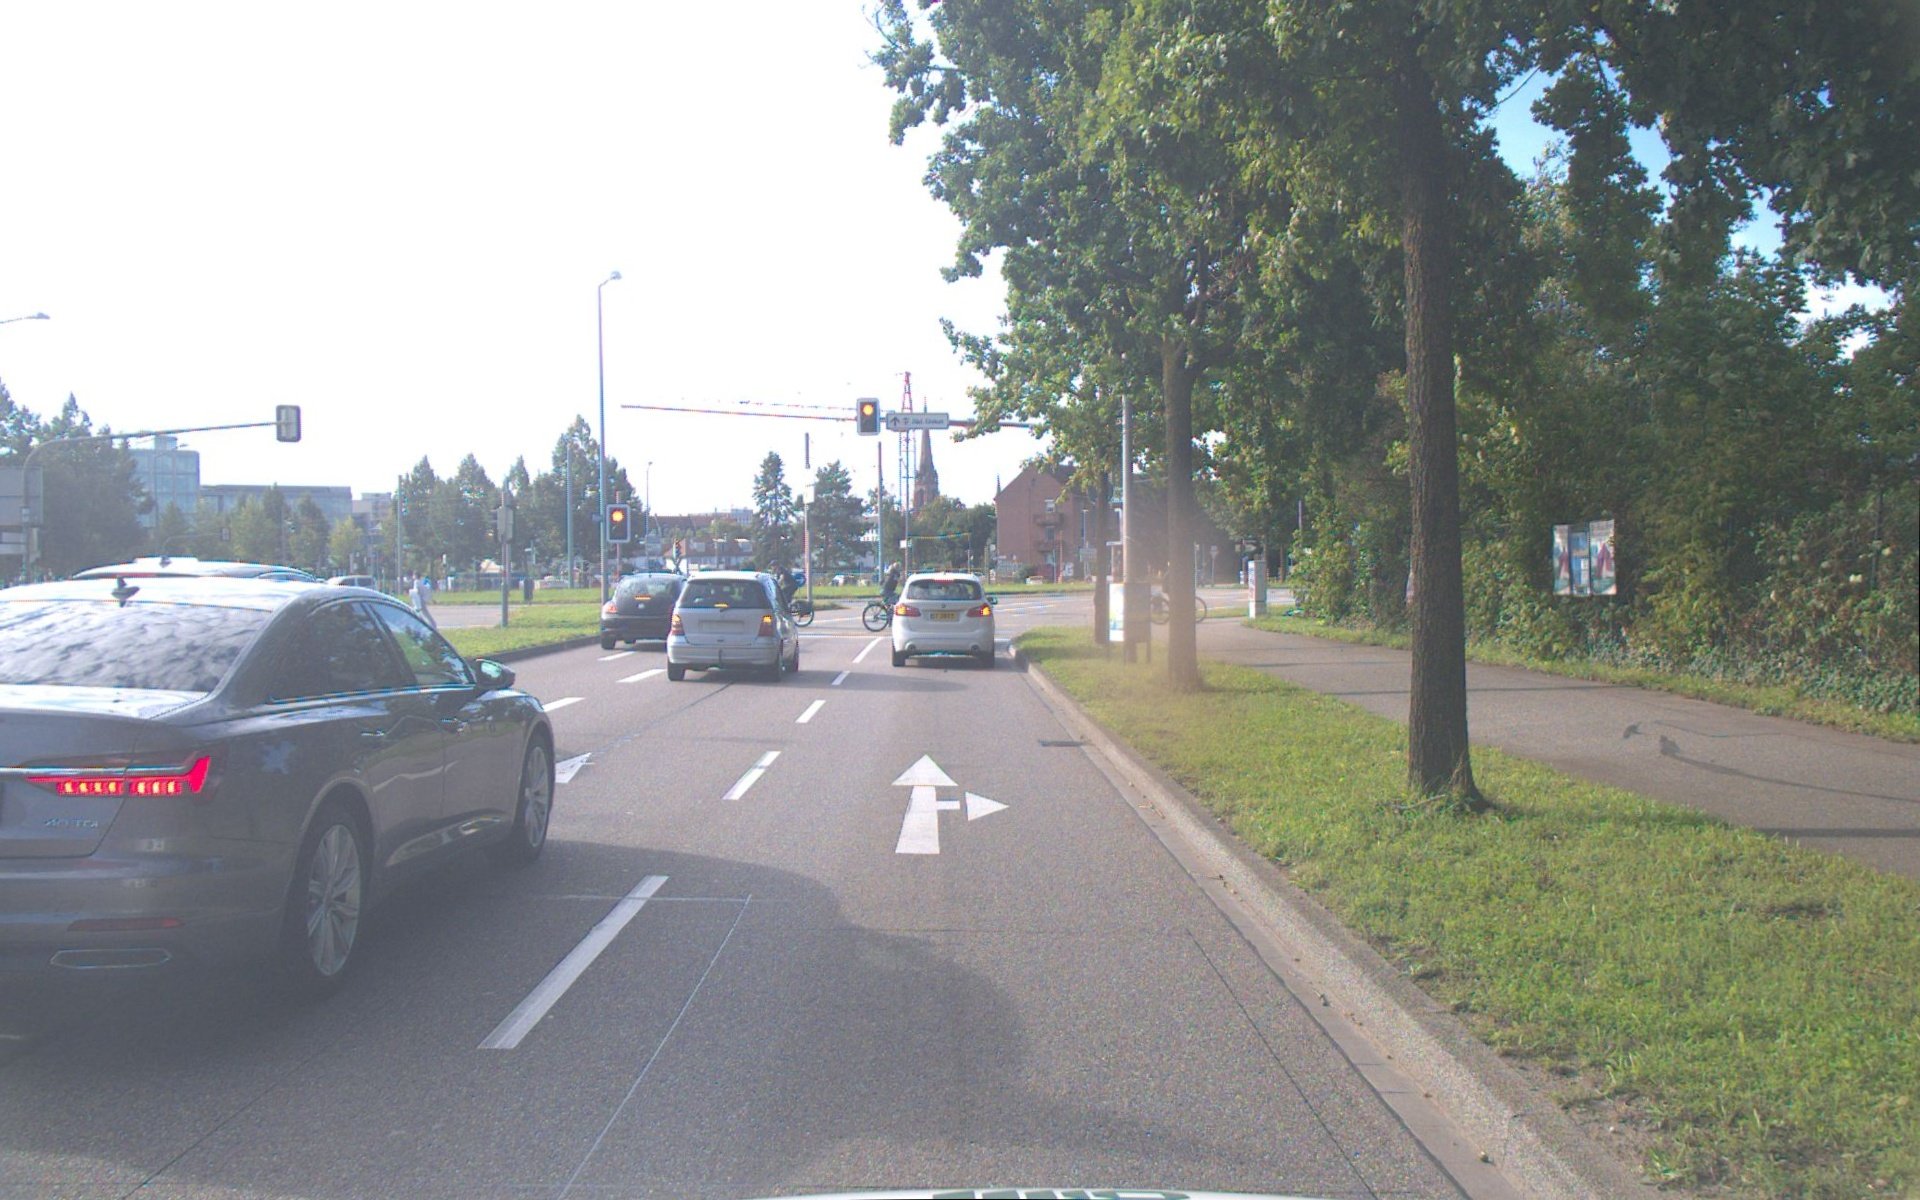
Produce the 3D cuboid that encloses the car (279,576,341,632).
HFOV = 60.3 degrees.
[{"bbox_3d":[-20.324,0.121,51.843,1.680,1.600,3.975,-3,1,-21],"label":"car"}]

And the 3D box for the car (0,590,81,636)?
[{"bbox_3d":[-35.796,0.512,63.639,3.136,1.601,1.568,-3,0,-16],"label":"car"}]

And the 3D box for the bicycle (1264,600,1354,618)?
[{"bbox_3d":[9.019,0.214,42.887,1.382,0.392,2.569,-1,1,-12],"label":"bicycle"}]

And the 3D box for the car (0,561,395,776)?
[{"bbox_3d":[-6.371,0.479,14.205,1.694,1.585,4.018,0,1,-1],"label":"car"}]

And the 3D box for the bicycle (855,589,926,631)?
[{"bbox_3d":[-1.794,0.255,42.750,1.740,1.068,0.708,0,0,-14],"label":"bicycle"}]

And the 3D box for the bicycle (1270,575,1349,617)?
[{"bbox_3d":[9.969,-0.127,47.180,2.005,1.140,0.887,-1,0,-15],"label":"bicycle"}]

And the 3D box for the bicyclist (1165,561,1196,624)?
[{"bbox_3d":[6.002,-0.214,45.092,0.753,1.676,0.535,-1,2,-2],"label":"bicyclist"}]

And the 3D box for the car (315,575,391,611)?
[{"bbox_3d":[-36.829,-0.435,100.448,1.786,2.049,4.233,-2,0,26],"label":"car"}]

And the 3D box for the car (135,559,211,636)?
[{"bbox_3d":[-25.439,-0.093,53.613,1.968,2.274,5.880,-3,1,-24],"label":"car"}]

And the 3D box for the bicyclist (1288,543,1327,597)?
[{"bbox_3d":[9.904,-0.838,47.190,0.807,1.515,0.759,-1,0,-15],"label":"bicyclist"}]

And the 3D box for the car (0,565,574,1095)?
[{"bbox_3d":[-3.057,0.630,7.000,1.851,1.509,4.612,0,0,-1],"label":"car"}]

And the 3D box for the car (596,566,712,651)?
[{"bbox_3d":[-6.170,0.131,33.739,1.686,1.592,3.877,1,1,-1],"label":"car"}]

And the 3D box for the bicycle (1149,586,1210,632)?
[{"bbox_3d":[5.985,0.245,45.100,1.586,1.239,0.490,0,0,-2],"label":"bicycle"}]

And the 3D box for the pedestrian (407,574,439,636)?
[{"bbox_3d":[-14.058,0.117,43.278,0.642,1.596,0.615,-1,0,-5],"label":"pedestrian"}]

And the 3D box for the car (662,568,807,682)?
[{"bbox_3d":[-3.347,0.318,25.217,1.694,1.585,4.058,0,1,-1],"label":"car"}]

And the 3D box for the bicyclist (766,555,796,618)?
[{"bbox_3d":[-4.855,-0.364,44.925,0.772,1.697,0.549,-1,0,-5],"label":"bicyclist"}]

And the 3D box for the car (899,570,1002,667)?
[{"bbox_3d":[-0.202,0.273,29.387,1.694,1.585,4.057,0,1,-1],"label":"car"}]

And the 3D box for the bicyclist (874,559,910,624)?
[{"bbox_3d":[-1.761,-0.219,42.767,0.815,1.676,0.683,0,0,-13],"label":"bicyclist"}]

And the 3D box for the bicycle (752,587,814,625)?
[{"bbox_3d":[-4.805,0.157,44.933,1.642,0.984,0.643,-1,0,-6],"label":"bicycle"}]
